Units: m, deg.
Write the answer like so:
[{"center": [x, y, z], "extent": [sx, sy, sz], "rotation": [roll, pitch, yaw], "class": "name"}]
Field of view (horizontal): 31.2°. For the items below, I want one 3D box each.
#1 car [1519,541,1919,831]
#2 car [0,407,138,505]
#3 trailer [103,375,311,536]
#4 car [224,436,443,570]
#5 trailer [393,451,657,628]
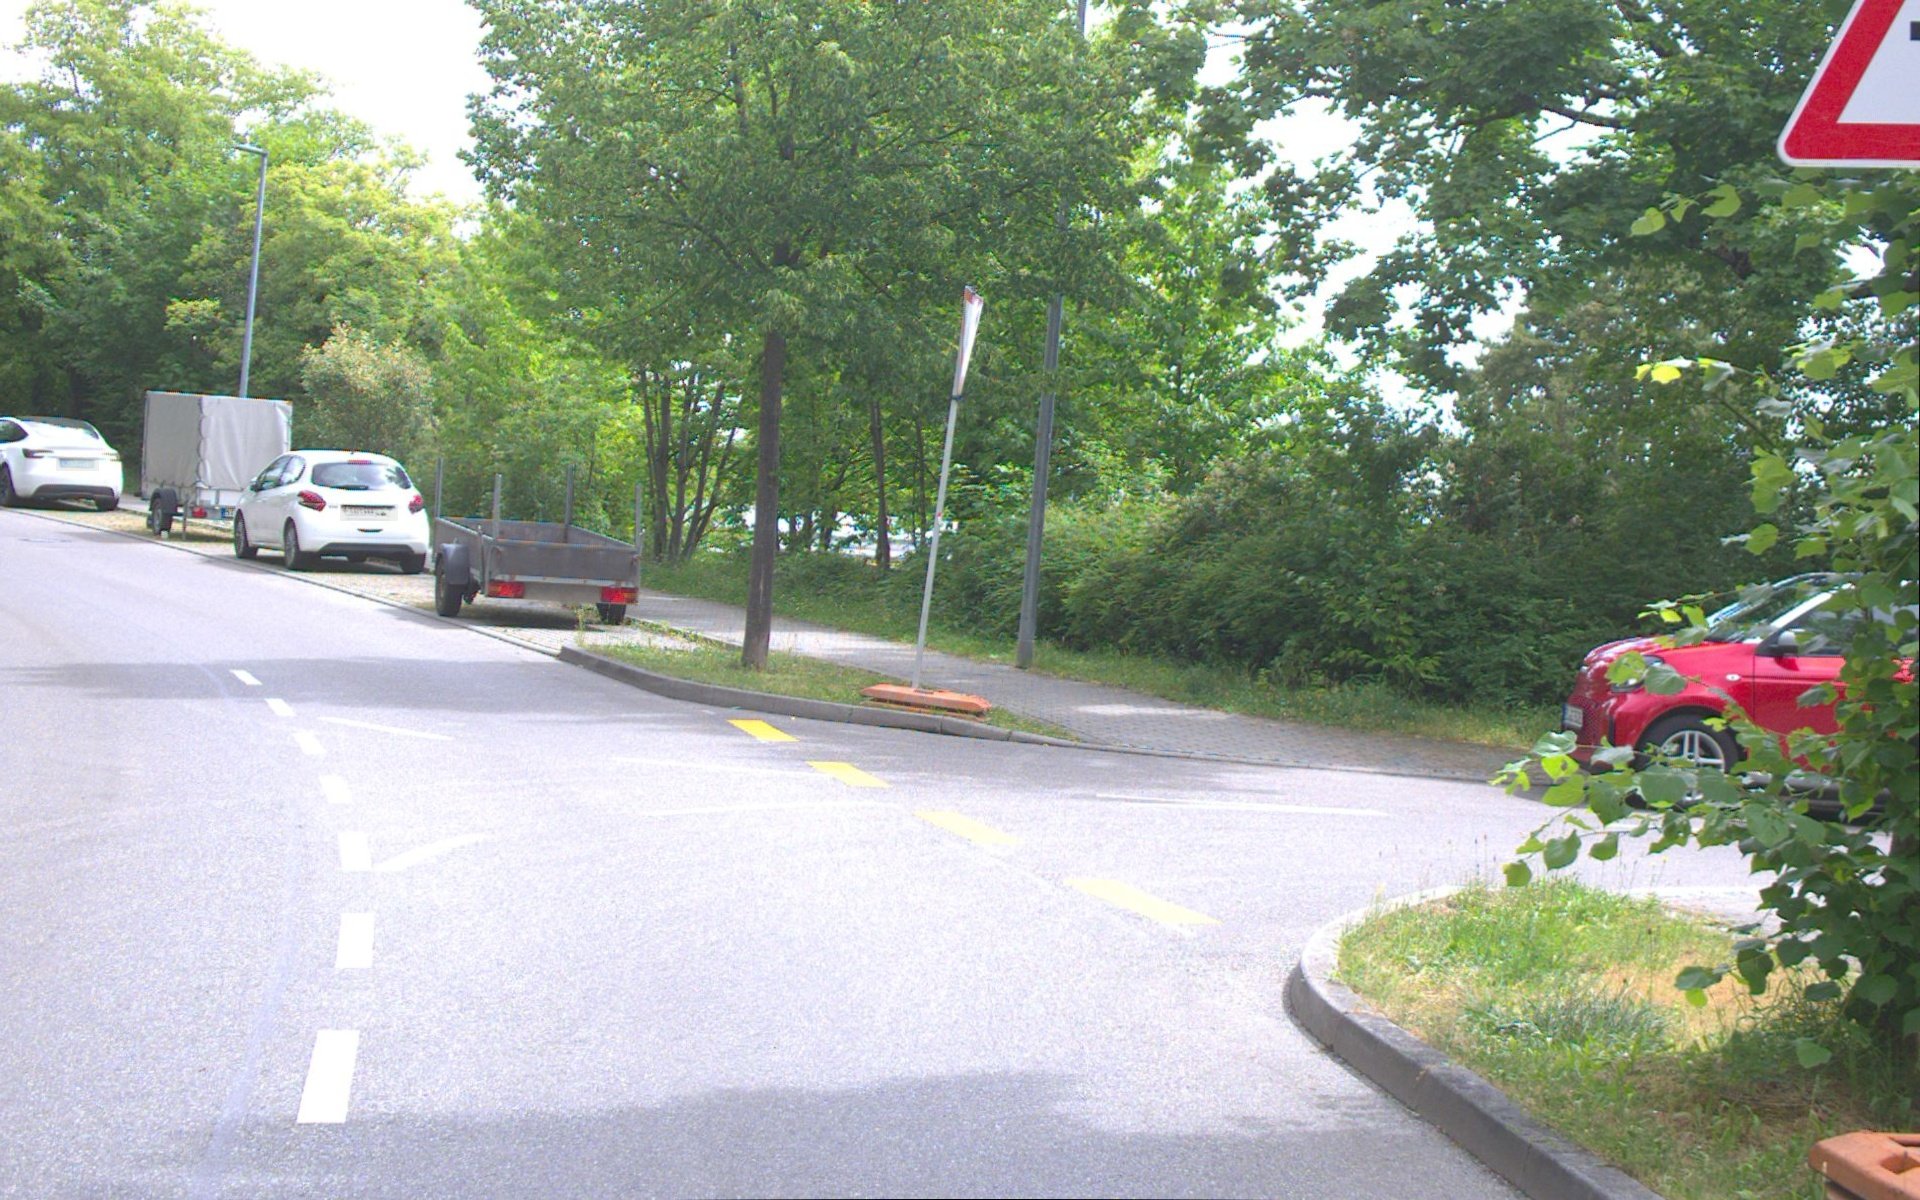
[{"center": [5.419, 0.562, 21.152], "extent": [3.536, 1.476, 1.782], "rotation": [5, 2, 0], "class": "car"}, {"center": [-15.232, -2.409, 56.490], "extent": [1.886, 1.371, 4.352], "rotation": [2, 4, -34], "class": "car"}, {"center": [-10.895, -2.117, 49.543], "extent": [1.740, 2.103, 4.001], "rotation": [1, 4, -30], "class": "trailer"}, {"center": [-8.017, -1.263, 43.721], "extent": [1.768, 1.406, 4.002], "rotation": [2, 4, -24], "class": "car"}, {"center": [-4.502, -0.659, 35.114], "extent": [1.783, 1.520, 4.002], "rotation": [3, 3, -20], "class": "trailer"}]
